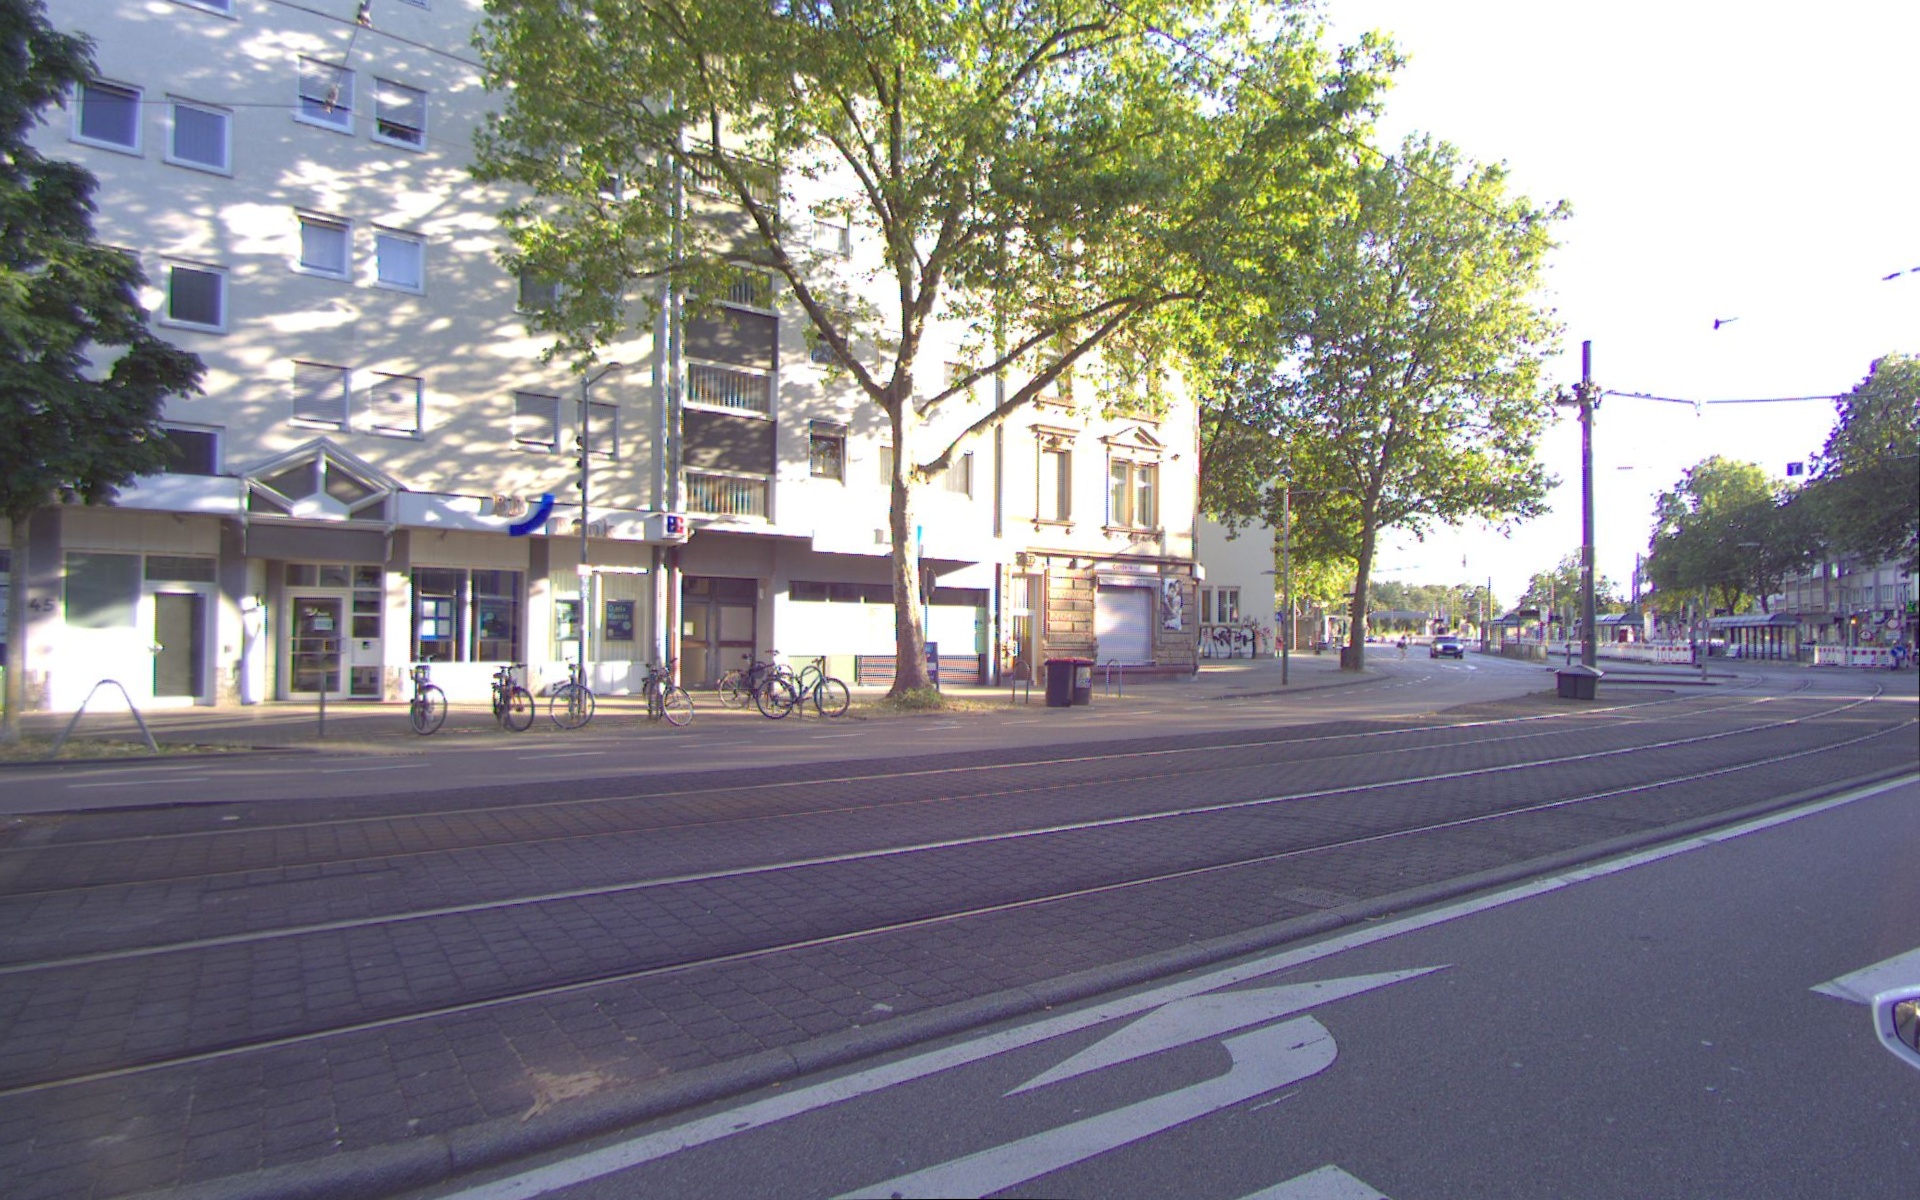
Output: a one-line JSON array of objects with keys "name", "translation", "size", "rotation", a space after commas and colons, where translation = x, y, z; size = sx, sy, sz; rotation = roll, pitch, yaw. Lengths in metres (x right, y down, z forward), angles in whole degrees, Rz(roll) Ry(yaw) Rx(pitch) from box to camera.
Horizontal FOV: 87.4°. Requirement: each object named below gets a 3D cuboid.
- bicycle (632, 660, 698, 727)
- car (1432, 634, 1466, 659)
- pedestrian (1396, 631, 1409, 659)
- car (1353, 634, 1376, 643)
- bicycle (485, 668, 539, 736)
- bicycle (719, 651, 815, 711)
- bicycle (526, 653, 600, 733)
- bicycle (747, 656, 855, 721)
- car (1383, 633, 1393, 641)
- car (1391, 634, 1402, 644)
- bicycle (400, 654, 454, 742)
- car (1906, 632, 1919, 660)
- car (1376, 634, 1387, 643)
[{"name": "bicycle", "translation": [-5.072, 1.568, 17.203], "size": [0.584, 1.002, 1.729], "rotation": [2, -1, -34]}, {"name": "car", "translation": [33.024, 3.115, 67.889], "size": [1.962, 1.661, 3.997], "rotation": [0, -2, 25]}, {"name": "pedestrian", "translation": [26.712, 2.740, 60.642], "size": [0.645, 1.678, 0.444], "rotation": [0, -2, 18]}, {"name": "car", "translation": [78.246, 7.390, 194.270], "size": [3.919, 1.661, 1.792], "rotation": [0, -2, 13]}, {"name": "bicycle", "translation": [-6.938, 1.547, 15.532], "size": [0.467, 0.900, 1.729], "rotation": [2, -1, -34]}, {"name": "bicycle", "translation": [-3.849, 1.595, 20.083], "size": [1.777, 1.132, 0.617], "rotation": [2, -2, -29]}, {"name": "bicycle", "translation": [-6.370, 1.448, 16.065], "size": [0.724, 1.128, 1.729], "rotation": [2, -1, -34]}, {"name": "bicycle", "translation": [-2.845, 1.567, 18.013], "size": [1.800, 1.091, 0.649], "rotation": [2, -2, -29]}, {"name": "car", "translation": [89.578, 7.759, 210.263], "size": [1.814, 1.706, 3.716], "rotation": [0, -2, 23]}, {"name": "car", "translation": [78.779, 7.046, 181.332], "size": [1.814, 1.706, 3.715], "rotation": [-2, -2, 23]}, {"name": "bicycle", "translation": [-7.840, 1.400, 14.744], "size": [0.506, 1.153, 1.729], "rotation": [2, -1, -34]}, {"name": "car", "translation": [64.568, 3.065, 66.054], "size": [1.960, 1.815, 4.000], "rotation": [2, -1, 20]}, {"name": "car", "translation": [79.459, 7.211, 189.315], "size": [1.814, 1.706, 3.716], "rotation": [0, -2, 23]}]
